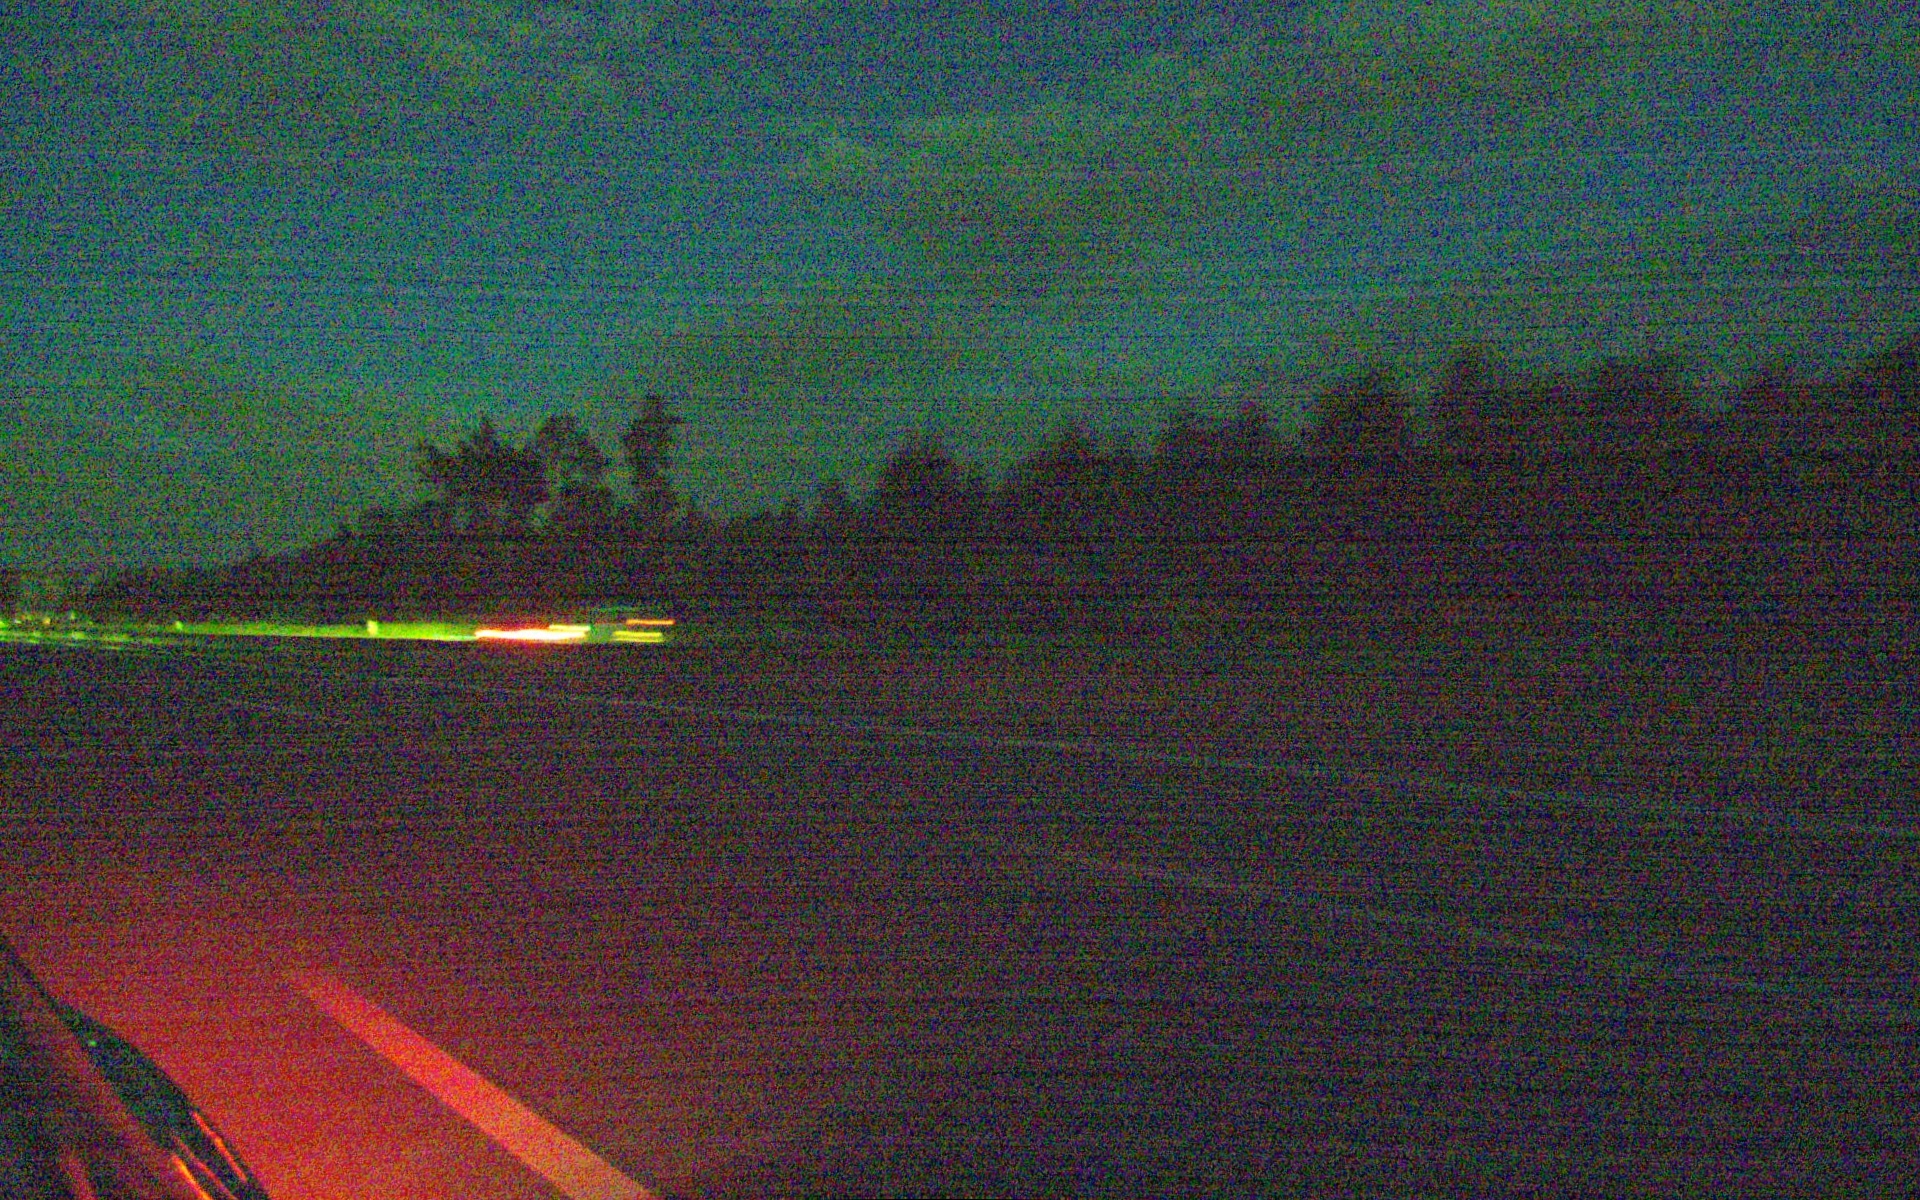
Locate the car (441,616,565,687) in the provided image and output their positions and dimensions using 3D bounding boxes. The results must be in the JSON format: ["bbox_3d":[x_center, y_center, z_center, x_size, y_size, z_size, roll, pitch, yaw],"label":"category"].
[{"bbox_3d":[-14.568,1.556,32.130,4.605,2.029,1.972,-1,0,43],"label":"car"}]

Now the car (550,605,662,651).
[{"bbox_3d":[-14.586,1.107,41.561,5.084,1.791,1.974,-1,0,39],"label":"car"}]
